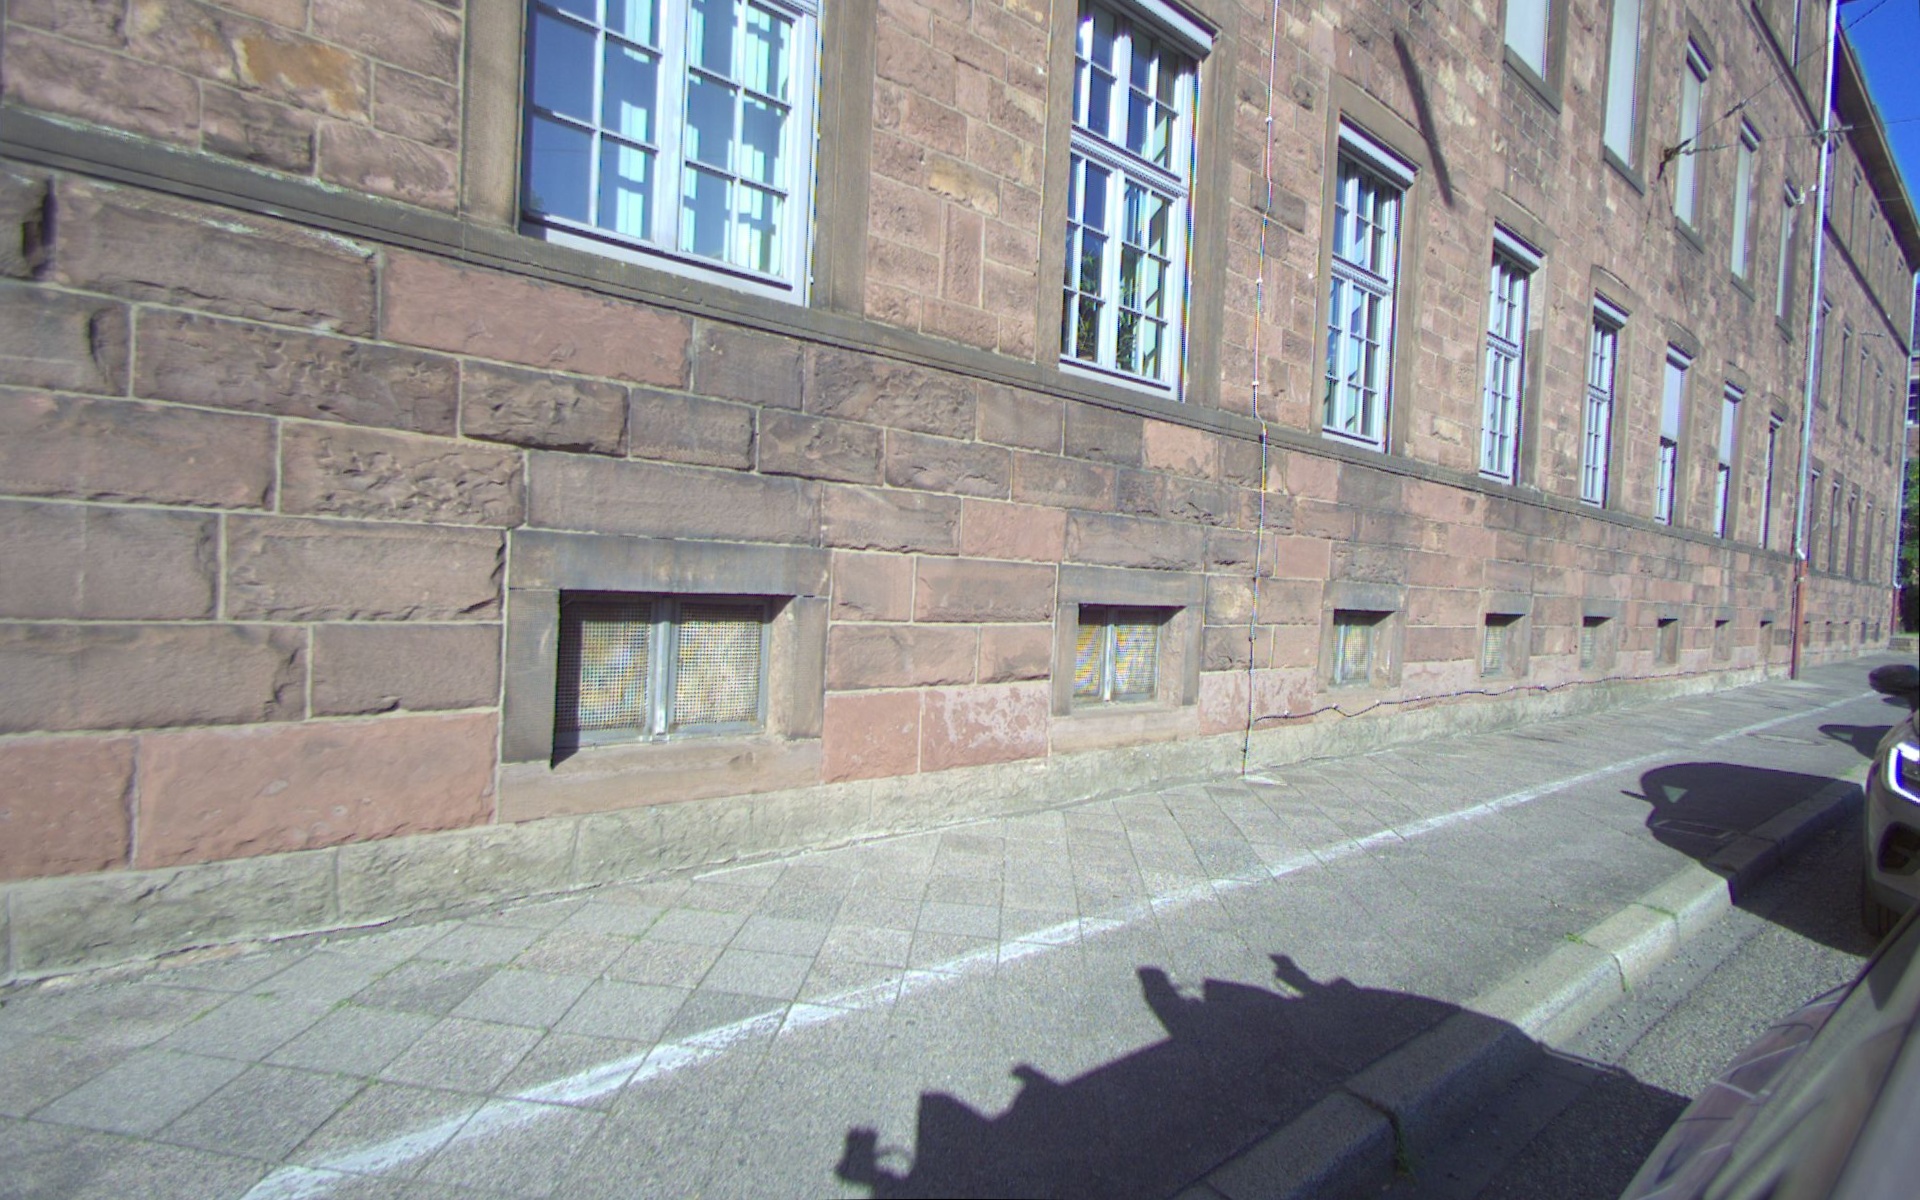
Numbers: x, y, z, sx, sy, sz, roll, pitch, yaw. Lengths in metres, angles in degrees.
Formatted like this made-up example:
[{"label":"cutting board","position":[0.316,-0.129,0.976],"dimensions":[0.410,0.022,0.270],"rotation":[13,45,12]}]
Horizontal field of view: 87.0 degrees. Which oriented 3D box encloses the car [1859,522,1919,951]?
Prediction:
[{"label":"car","position":[5.495,0.555,4.566],"dimensions":[3.735,1.624,1.793],"rotation":[1,1,-43]}]
